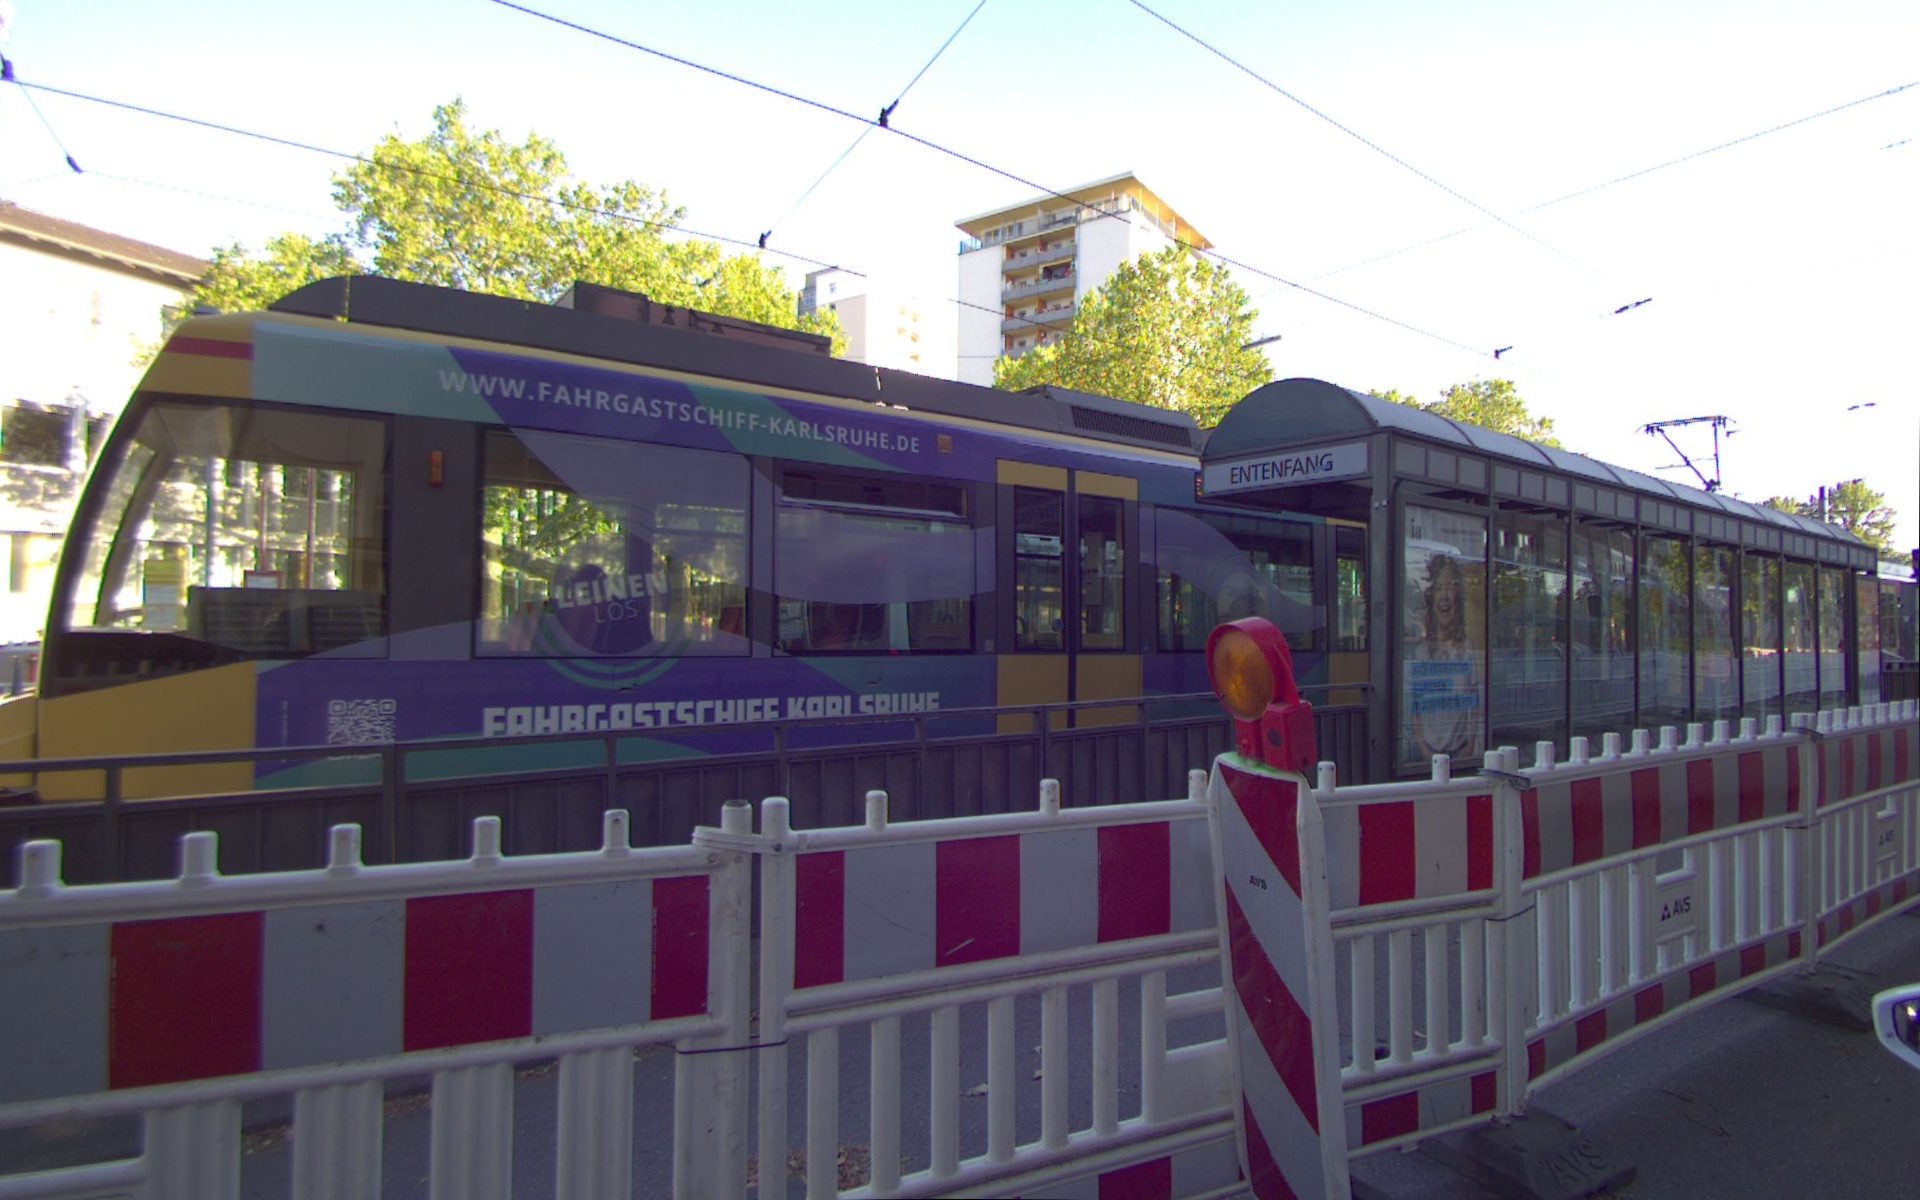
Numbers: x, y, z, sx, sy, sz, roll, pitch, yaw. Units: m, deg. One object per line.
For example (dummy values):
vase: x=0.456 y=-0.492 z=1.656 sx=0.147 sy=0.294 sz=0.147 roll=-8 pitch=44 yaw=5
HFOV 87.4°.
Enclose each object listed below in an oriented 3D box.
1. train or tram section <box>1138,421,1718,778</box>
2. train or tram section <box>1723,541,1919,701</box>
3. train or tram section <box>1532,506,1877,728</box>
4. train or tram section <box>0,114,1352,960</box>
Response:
train or tram section: x=7.130 y=0.139 z=14.135 sx=10.240 sy=3.533 sz=2.851 roll=2 pitch=-1 yaw=-36
train or tram section: x=23.475 y=0.615 z=26.454 sx=10.244 sy=3.533 sz=2.796 roll=2 pitch=-1 yaw=-37
train or tram section: x=15.329 y=0.414 z=20.233 sx=10.242 sy=3.533 sz=2.815 roll=2 pitch=-1 yaw=-37
train or tram section: x=-1.085 y=-0.126 z=8.067 sx=10.238 sy=3.533 sz=2.816 roll=2 pitch=-1 yaw=-36
